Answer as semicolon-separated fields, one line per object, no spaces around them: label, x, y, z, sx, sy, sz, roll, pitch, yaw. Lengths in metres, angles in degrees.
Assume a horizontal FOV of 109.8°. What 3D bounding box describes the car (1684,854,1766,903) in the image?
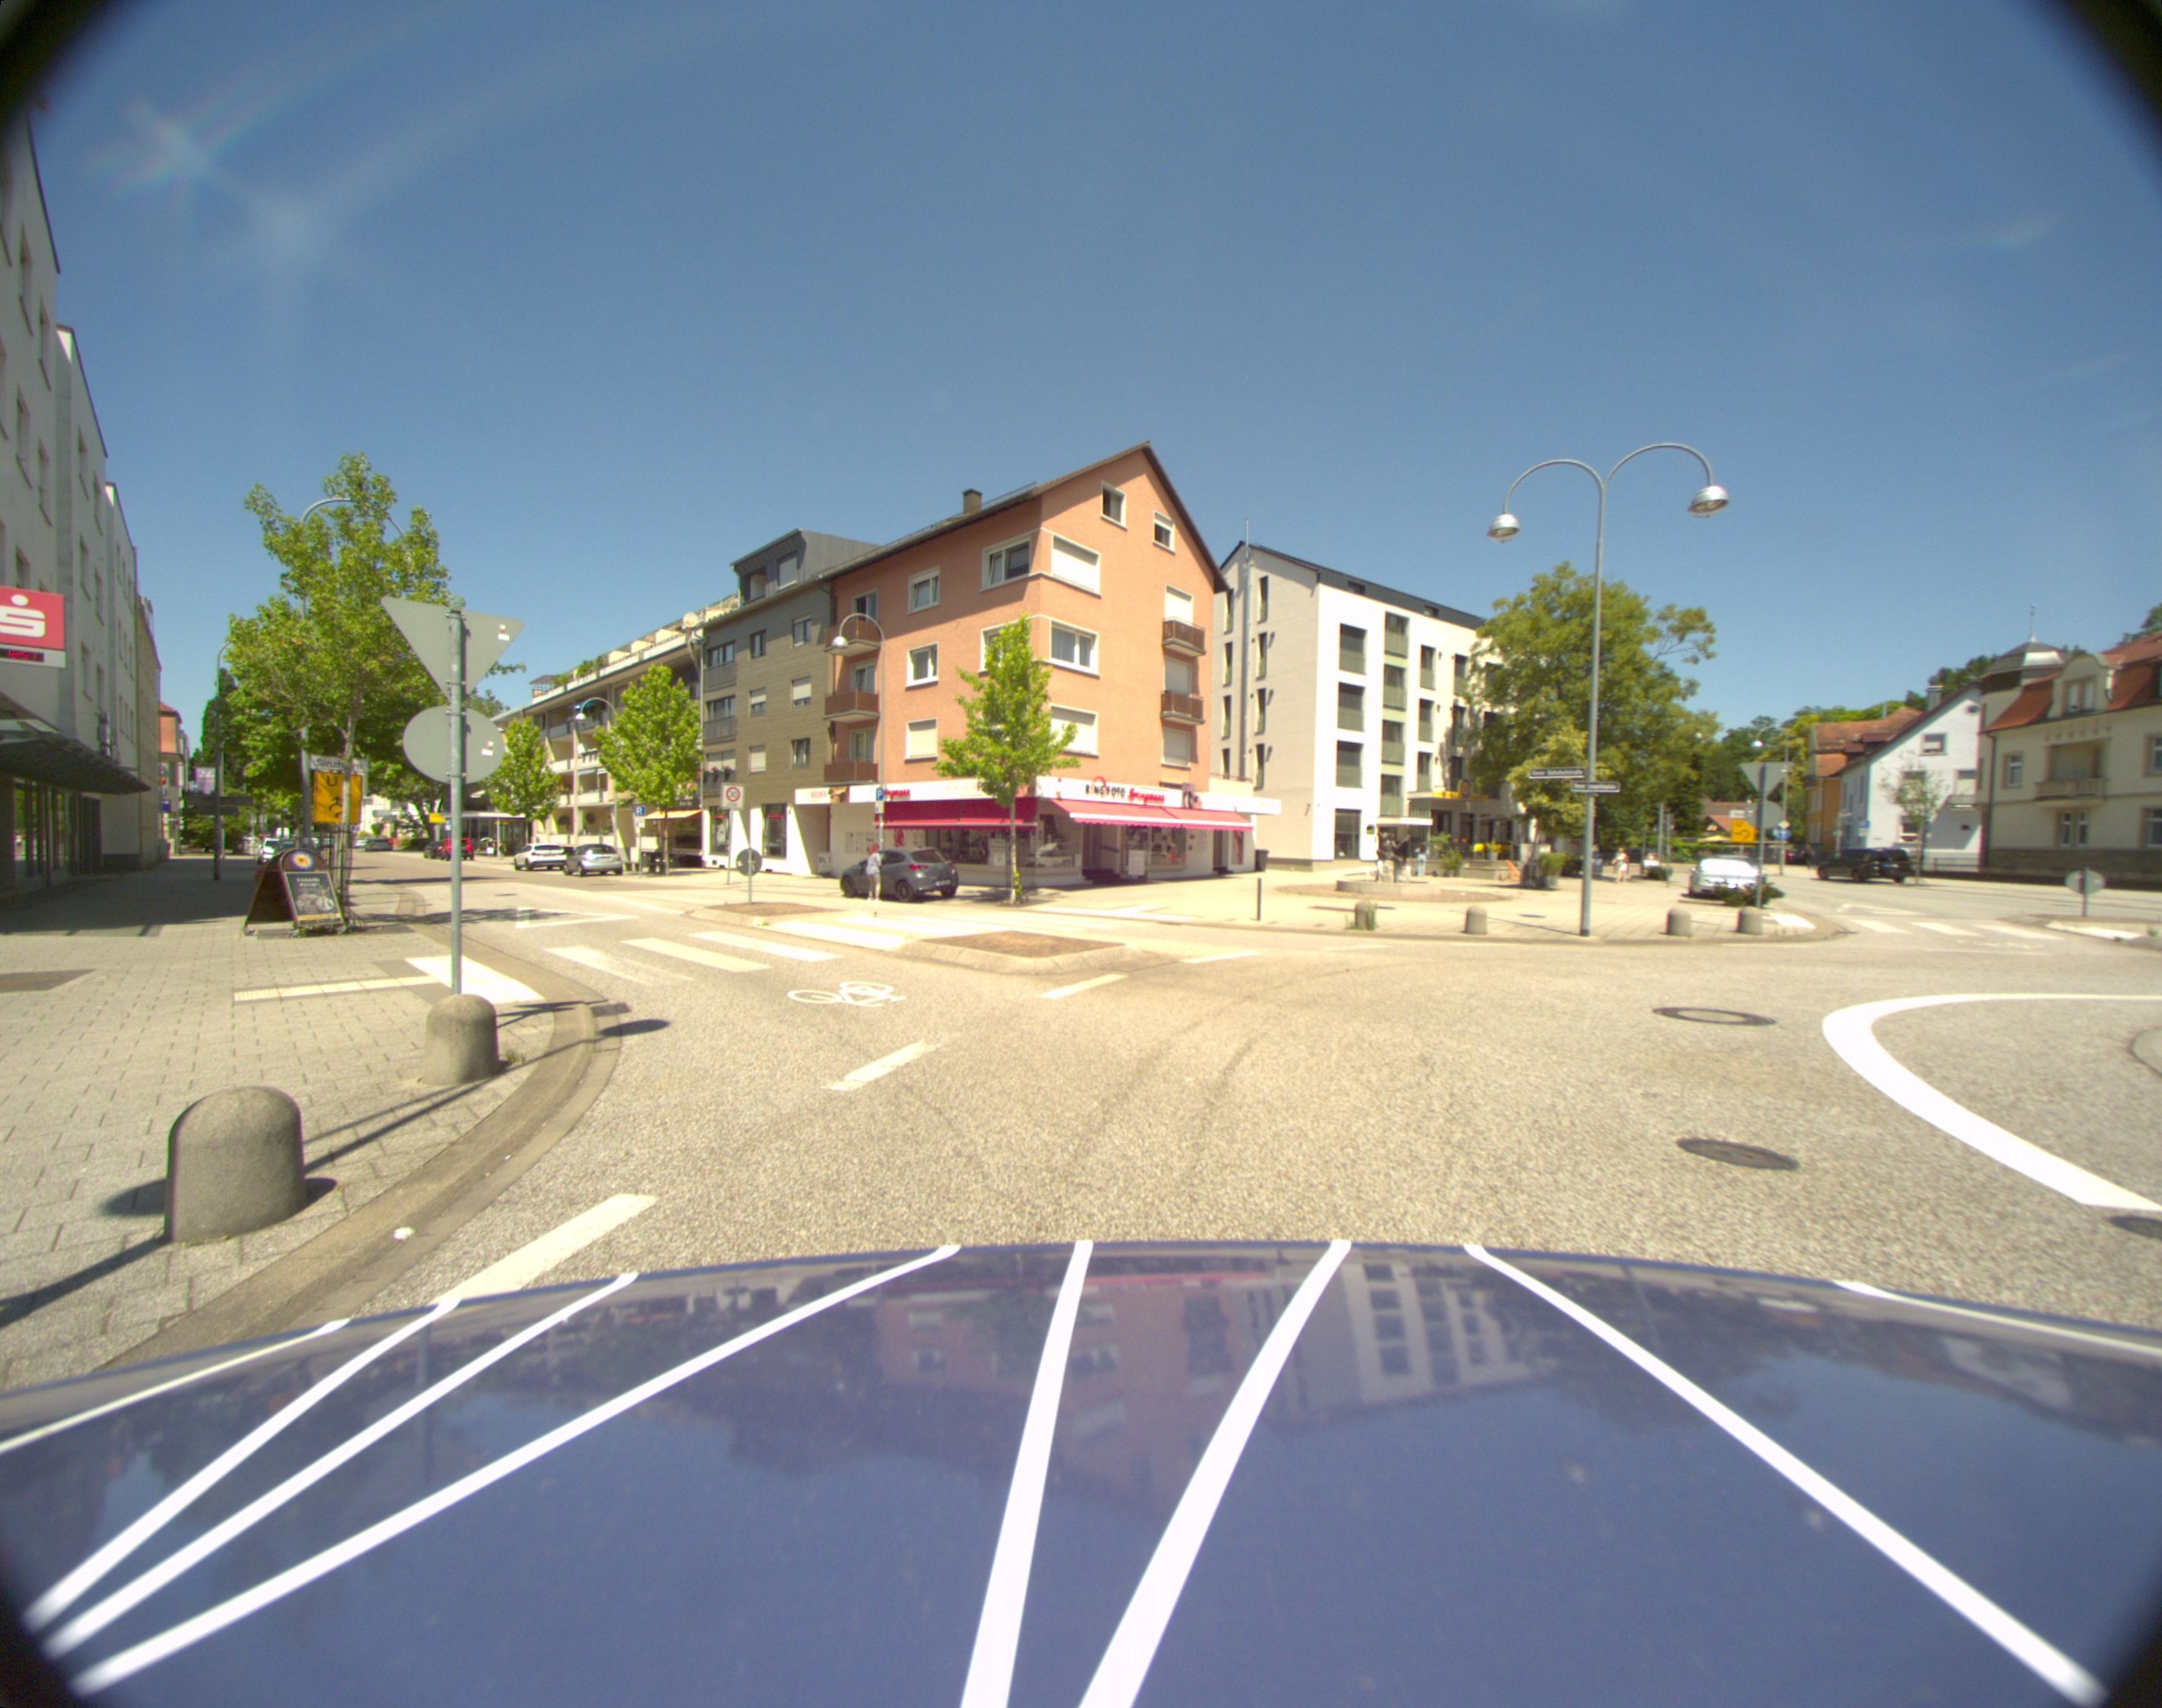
car;22.460;0.786;26.643;1.791;1.516;4.008;1;1;35

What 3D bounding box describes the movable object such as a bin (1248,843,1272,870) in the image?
movable object such as a bin;8.244;0.099;34.992;0.745;1.245;0.839;2;2;44

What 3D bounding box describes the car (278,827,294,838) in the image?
car;-174.890;-4.685;167.112;5.232;2.452;2.238;2;2;42

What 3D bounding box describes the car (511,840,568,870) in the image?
car;-30.053;0.029;42.153;4.286;1.583;1.704;1;2;42

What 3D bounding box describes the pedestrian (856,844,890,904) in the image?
pedestrian;-5.652;0.528;20.667;0.736;1.601;0.557;0;2;-40

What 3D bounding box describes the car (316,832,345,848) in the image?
car;-86.889;-1.658;87.975;4.742;1.744;1.911;1;1;39

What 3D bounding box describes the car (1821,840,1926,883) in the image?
car;41.303;0.322;39.727;1.996;2.003;4.003;0;3;16

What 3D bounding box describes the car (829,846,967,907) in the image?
car;-5.323;0.573;21.875;4.048;1.478;1.675;1;4;39

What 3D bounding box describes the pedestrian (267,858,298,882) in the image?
pedestrian;-29.238;0.585;27.825;0.681;0.847;0.536;1;1;-35

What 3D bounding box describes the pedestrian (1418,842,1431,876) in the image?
pedestrian;16.352;0.235;36.173;0.449;1.610;0.452;2;2;40

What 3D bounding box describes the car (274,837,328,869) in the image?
car;-44.199;-0.063;43.022;3.988;1.711;1.698;1;-1;39

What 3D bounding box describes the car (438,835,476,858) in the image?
car;-47.391;-0.624;57.684;3.360;1.653;1.649;1;4;42

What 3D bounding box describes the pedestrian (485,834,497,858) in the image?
pedestrian;-45.520;-0.618;58.628;0.669;1.794;0.684;0;2;-33

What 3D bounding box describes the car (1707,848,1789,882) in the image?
car;35.288;0.555;40.342;1.995;1.646;4.210;1;1;23

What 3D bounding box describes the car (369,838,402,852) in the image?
car;-77.925;-1.019;85.140;3.988;1.412;2.004;1;2;38

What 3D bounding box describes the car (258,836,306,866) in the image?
car;-48.701;-0.223;46.305;4.121;1.712;1.697;1;2;39

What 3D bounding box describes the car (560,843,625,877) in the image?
car;-22.380;0.227;34.781;3.537;1.465;1.630;2;2;42

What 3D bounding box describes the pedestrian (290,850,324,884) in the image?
pedestrian;-28.413;0.466;27.901;0.764;1.233;0.536;0;1;-33

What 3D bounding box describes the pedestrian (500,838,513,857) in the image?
pedestrian;-45.077;-0.516;59.613;0.781;1.490;0.695;0;2;-36

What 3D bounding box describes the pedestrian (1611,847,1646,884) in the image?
pedestrian;24.859;0.501;34.518;0.819;1.639;0.949;0;2;-17
